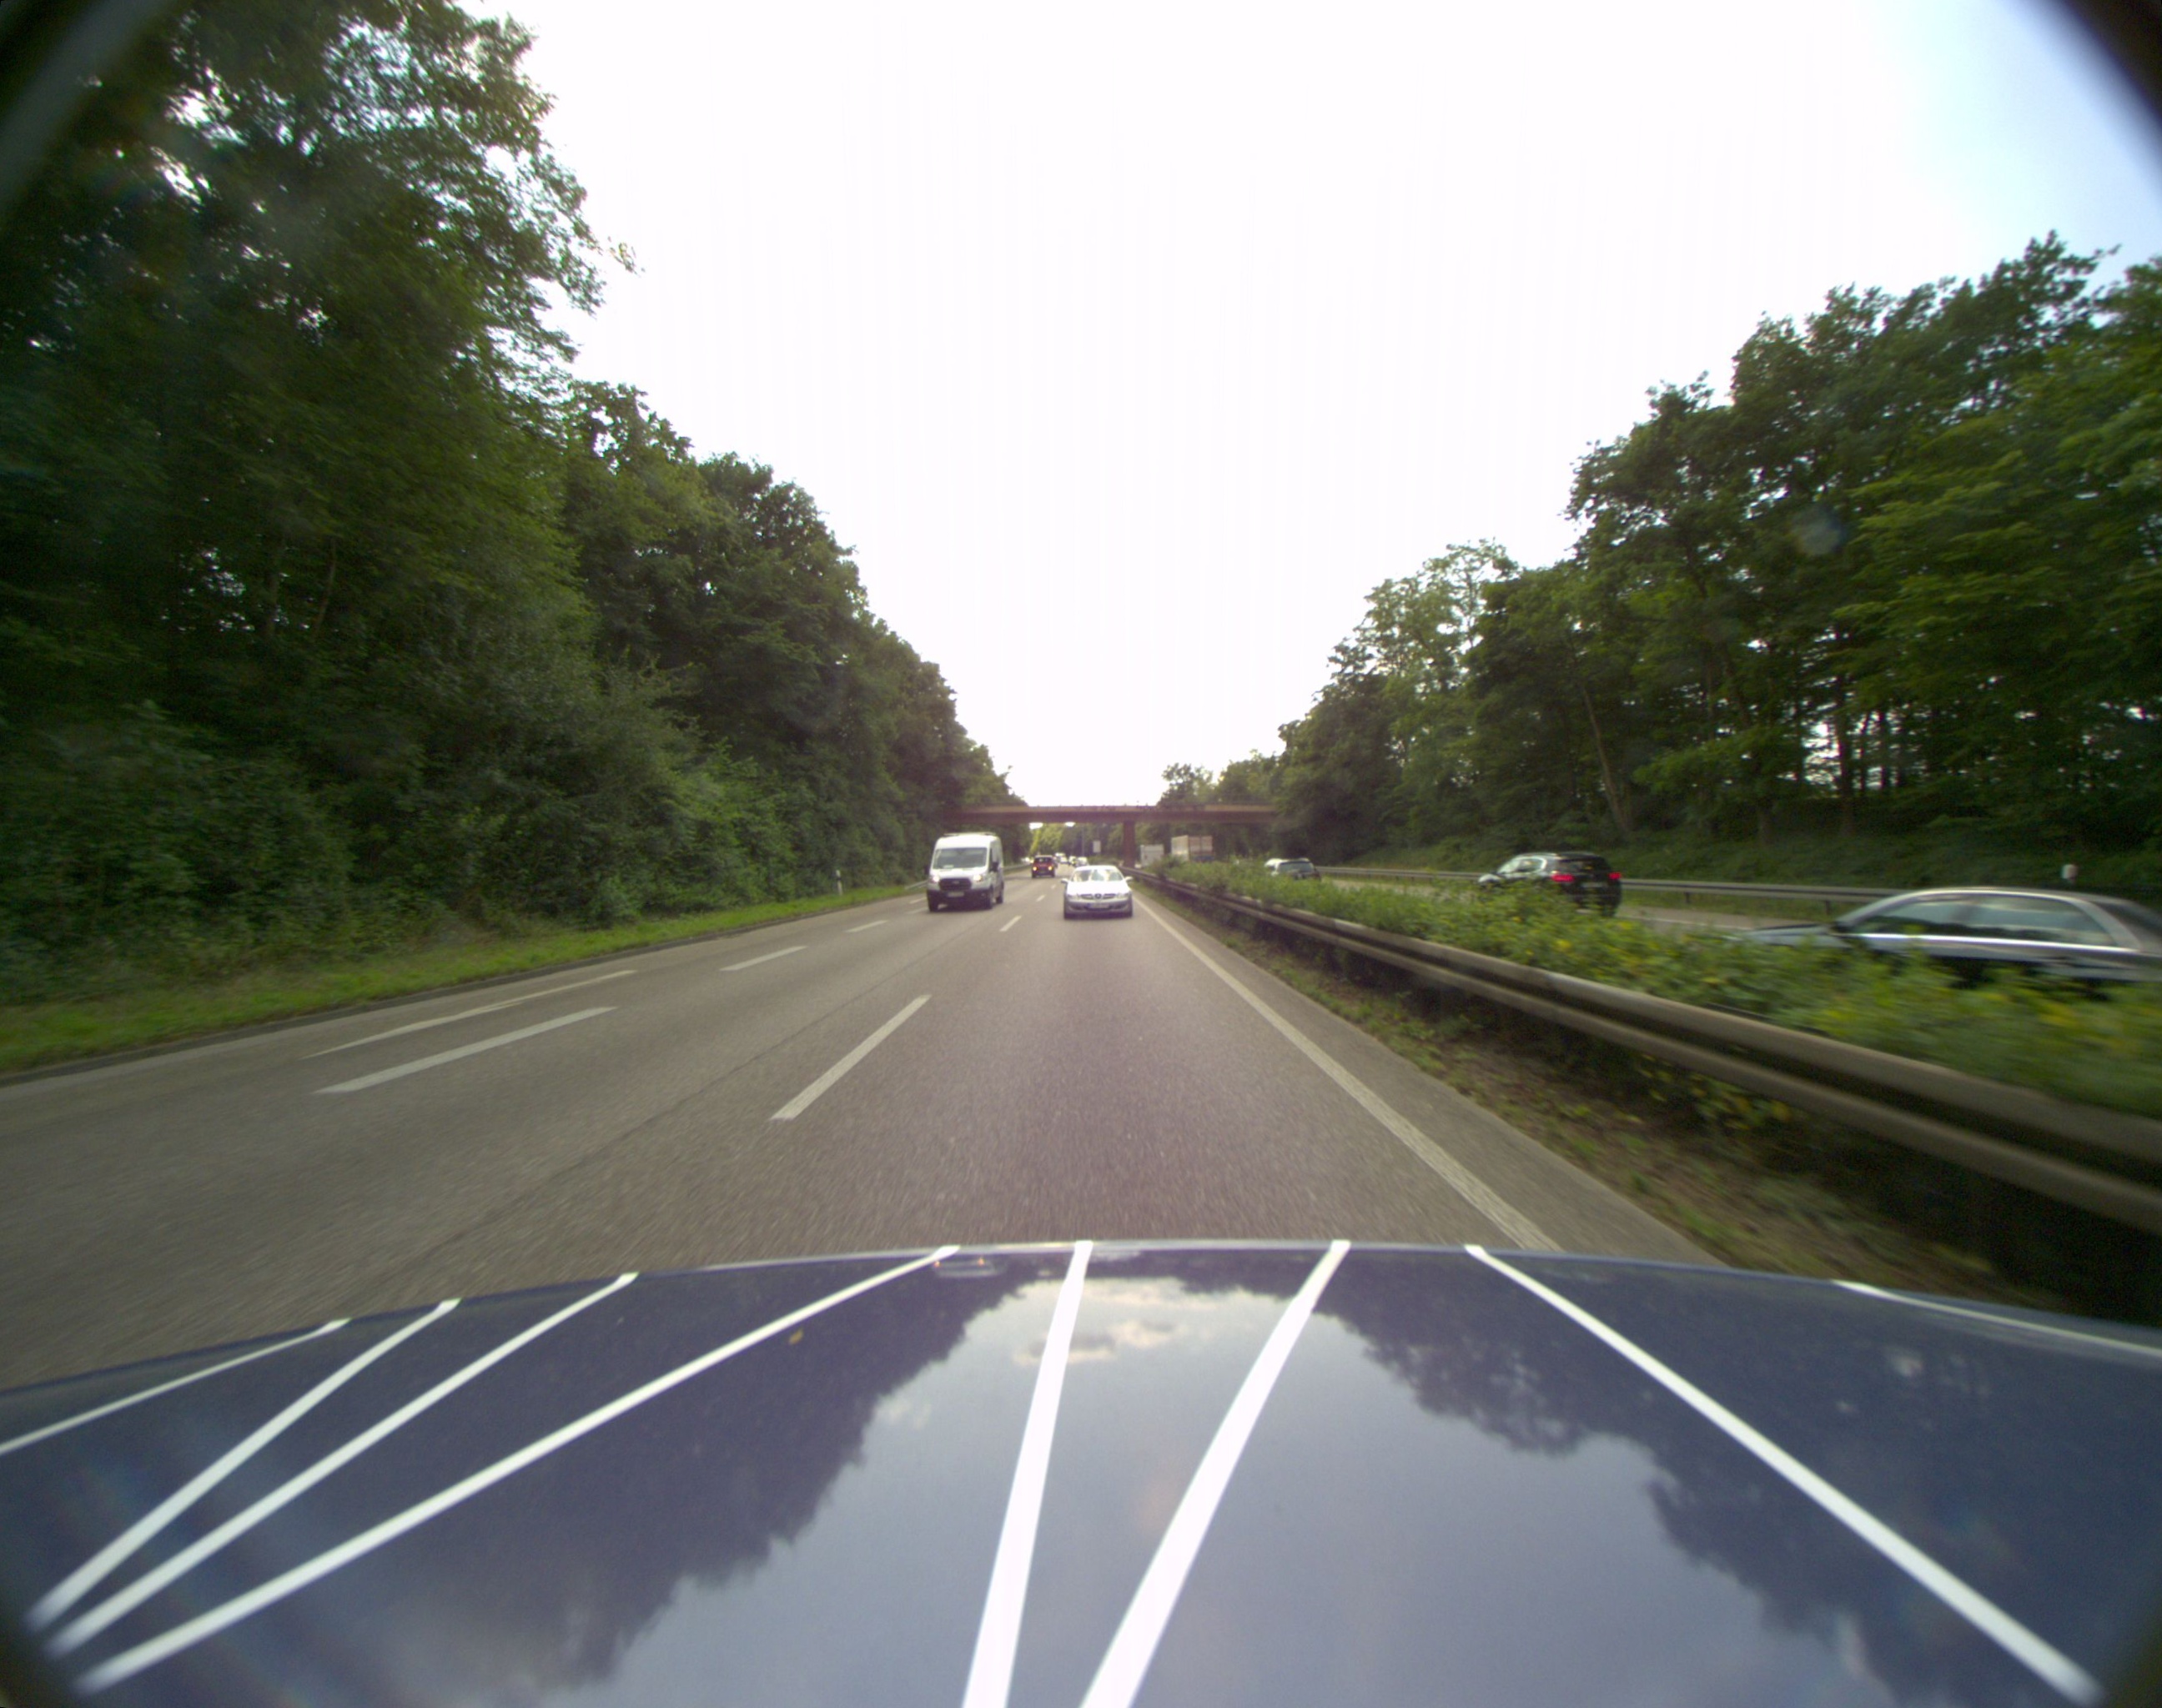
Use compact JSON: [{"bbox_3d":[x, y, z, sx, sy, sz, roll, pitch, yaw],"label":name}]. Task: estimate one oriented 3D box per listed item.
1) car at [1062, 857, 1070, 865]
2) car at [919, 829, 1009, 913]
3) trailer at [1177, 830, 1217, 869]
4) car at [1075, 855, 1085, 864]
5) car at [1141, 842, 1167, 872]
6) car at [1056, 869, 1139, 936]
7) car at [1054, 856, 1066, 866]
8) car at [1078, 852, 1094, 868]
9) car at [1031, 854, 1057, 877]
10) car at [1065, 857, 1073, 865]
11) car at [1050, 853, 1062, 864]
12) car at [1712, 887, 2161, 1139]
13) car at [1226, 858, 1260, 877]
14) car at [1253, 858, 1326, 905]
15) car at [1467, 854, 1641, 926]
[{"bbox_3d":[-4.022,1.831,206.250,1.724,2.002,4.001,-1,0,5],"label":"car"},{"bbox_3d":[-3.830,0.513,25.852,2.104,2.493,5.279,-2,0,1],"label":"car"},{"bbox_3d":[12.714,-0.498,84.185,3.067,4.018,9.975,-1,0,2],"label":"trailer"},{"bbox_3d":[-0.160,0.880,128.197,1.473,1.560,3.294,0,0,-2],"label":"car"},{"bbox_3d":[8.119,0.306,85.373,2.294,3.214,7.286,0,0,1],"label":"car"},{"bbox_3d":[0.353,1.099,19.063,1.751,1.295,5.223,-2,0,0],"label":"car"},{"bbox_3d":[-3.521,1.154,127.849,1.889,1.516,4.000,-1,0,1],"label":"car"},{"bbox_3d":[0.634,0.765,97.134,1.998,2.002,4.000,-1,0,1],"label":"car"},{"bbox_3d":[-3.150,0.930,65.121,1.908,1.795,4.395,-2,0,1],"label":"car"},{"bbox_3d":[-2.460,1.376,156.960,1.699,1.579,4.000,0,0,0],"label":"car"},{"bbox_3d":[-4.641,0.822,140.600,1.998,2.002,4.000,-1,0,0],"label":"car"},{"bbox_3d":[7.928,1.113,6.119,1.788,1.423,4.717,-2,0,1],"label":"car"},{"bbox_3d":[12.678,1.033,59.539,1.739,1.464,4.470,0,0,1],"label":"car"},{"bbox_3d":[7.849,0.993,28.968,1.721,1.621,4.000,-1,0,1],"label":"car"},{"bbox_3d":[12.502,0.862,20.505,1.832,1.651,4.595,-2,0,1],"label":"car"}]
